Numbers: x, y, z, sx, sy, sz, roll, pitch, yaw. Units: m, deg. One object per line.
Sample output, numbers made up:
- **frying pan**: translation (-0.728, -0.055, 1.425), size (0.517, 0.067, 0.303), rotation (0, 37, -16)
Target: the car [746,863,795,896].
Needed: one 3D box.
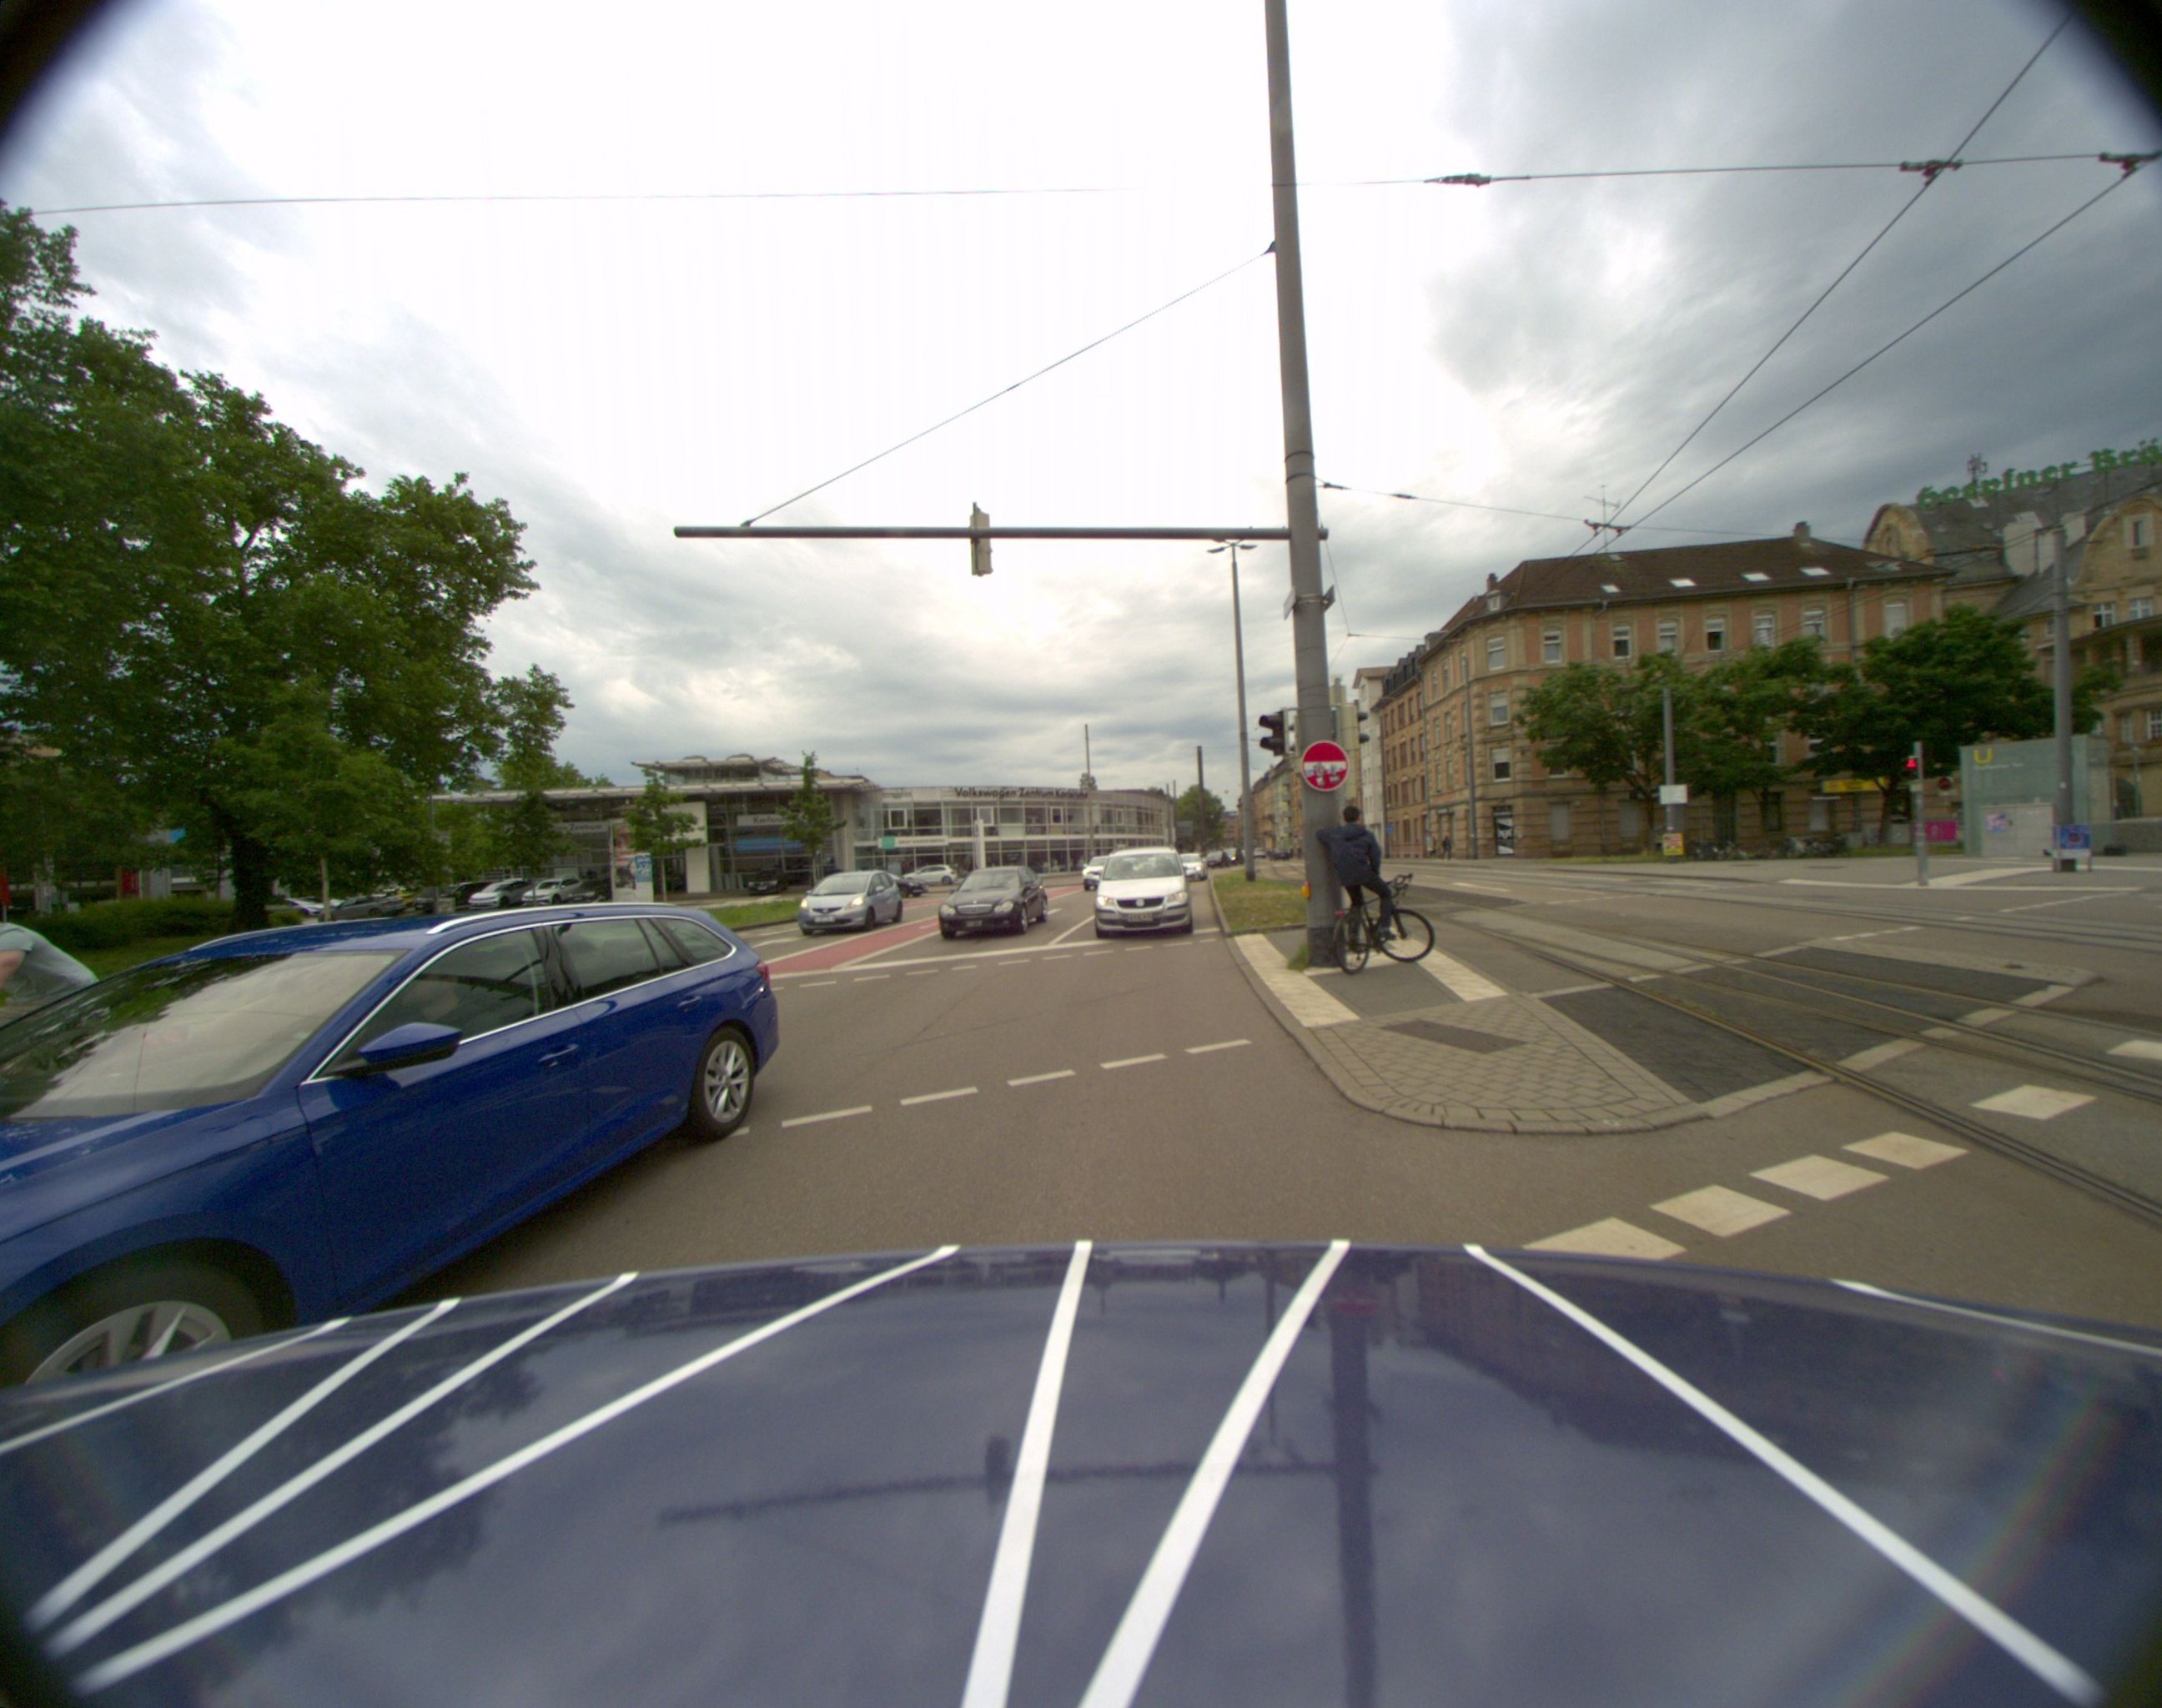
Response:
- **car**: translation (-20.639, 1.660, 50.714), size (1.957, 1.635, 4.667), rotation (-3, 5, -10)

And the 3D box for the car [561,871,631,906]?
- **car**: translation (-31.762, 2.223, 49.939), size (1.956, 1.450, 4.222), rotation (-3, 7, -4)

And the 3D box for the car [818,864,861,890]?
- **car**: translation (-16.270, 1.505, 51.071), size (1.960, 1.517, 4.219), rotation (-3, 2, -29)

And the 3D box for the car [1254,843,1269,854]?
- **car**: translation (28.780, -0.906, 121.146), size (1.834, 1.635, 4.232), rotation (-3, 0, 6)

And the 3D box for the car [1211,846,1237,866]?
- **car**: translation (14.085, 0.144, 74.631), size (2.370, 1.744, 5.133), rotation (-3, 0, 11)

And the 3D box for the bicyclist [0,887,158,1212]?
- **bicyclist**: translation (-5.879, 1.028, 3.990), size (0.790, 1.609, 0.933), rotation (-4, 1, 5)

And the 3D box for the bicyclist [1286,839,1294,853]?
- **bicyclist**: translation (28.405, -1.030, 103.404), size (0.823, 1.856, 0.924), rotation (-3, 1, 8)

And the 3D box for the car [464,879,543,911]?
- **car**: translation (-37.428, 2.618, 49.413), size (1.956, 1.459, 4.224), rotation (-3, 5, -4)

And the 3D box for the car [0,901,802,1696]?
- **car**: translation (-3.095, 1.120, 3.008), size (1.769, 1.428, 4.758), rotation (-4, 0, 5)

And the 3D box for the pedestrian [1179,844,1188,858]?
- **pedestrian**: translation (15.400, -0.447, 113.888), size (1.176, 2.002, 1.032), rotation (-3, 1, 8)

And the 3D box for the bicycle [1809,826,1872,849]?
- **bicycle**: translation (35.460, -0.753, 35.519), size (0.754, 1.024, 2.398), rotation (-3, 0, 8)

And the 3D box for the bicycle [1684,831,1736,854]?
- **bicycle**: translation (30.208, -0.550, 36.539), size (0.754, 1.024, 2.398), rotation (-3, 0, 8)

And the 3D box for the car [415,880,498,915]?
- **car**: translation (-40.130, 2.762, 48.974), size (1.956, 1.505, 4.223), rotation (-3, 6, -4)

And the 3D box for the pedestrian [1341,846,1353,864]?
- **pedestrian**: translation (27.987, 0.122, 79.860), size (0.921, 1.822, 0.719), rotation (-3, 1, -27)

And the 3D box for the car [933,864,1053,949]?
- **car**: translation (-1.790, 1.053, 16.919), size (1.769, 1.362, 4.422), rotation (-4, 1, 4)

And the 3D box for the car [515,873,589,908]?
- **car**: translation (-34.590, 2.366, 49.817), size (1.956, 1.589, 4.223), rotation (-3, 6, -4)

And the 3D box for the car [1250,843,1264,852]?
- **car**: translation (31.092, -1.207, 134.202), size (1.814, 1.423, 4.019), rotation (-3, 0, 6)

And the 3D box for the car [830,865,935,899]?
- **car**: translation (-10.336, 1.446, 39.776), size (4.877, 1.534, 1.892), rotation (-2, 0, 4)

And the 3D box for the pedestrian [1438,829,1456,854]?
- **pedestrian**: translation (25.188, -0.843, 52.269), size (0.811, 1.666, 0.799), rotation (-3, 1, 5)

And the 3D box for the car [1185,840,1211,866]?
- **car**: translation (9.743, -0.069, 63.394), size (1.997, 2.002, 4.002), rotation (-3, 0, 9)

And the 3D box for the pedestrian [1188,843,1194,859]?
- **pedestrian**: translation (13.697, -0.403, 94.997), size (0.652, 1.904, 0.602), rotation (-3, 1, 8)

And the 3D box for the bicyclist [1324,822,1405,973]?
- **bicyclist**: translation (3.207, 0.469, 8.600), size (0.656, 1.630, 0.516), rotation (-3, 1, -31)

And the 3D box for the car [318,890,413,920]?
- **car**: translation (-44.612, 3.166, 47.440), size (4.148, 1.504, 1.654), rotation (-3, 1, -4)

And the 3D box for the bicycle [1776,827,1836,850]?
- **bicycle**: translation (34.028, -0.719, 35.692), size (0.754, 1.024, 2.398), rotation (-3, 0, 8)

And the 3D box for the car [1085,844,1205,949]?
- **car**: translation (1.114, 0.684, 14.914), size (1.863, 1.609, 5.062), rotation (-3, 0, 1)

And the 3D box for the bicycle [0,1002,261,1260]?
- **bicycle**: translation (-5.839, 1.531, 3.952), size (0.763, 1.072, 2.017), rotation (-4, 0, 6)

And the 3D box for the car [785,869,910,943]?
- **car**: translation (-5.807, 1.242, 19.430), size (1.708, 1.475, 3.934), rotation (-4, 0, 3)

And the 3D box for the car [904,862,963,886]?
- **car**: translation (-10.505, 1.402, 54.297), size (3.905, 1.433, 1.732), rotation (-3, 1, -2)

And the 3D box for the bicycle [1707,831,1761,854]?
- **bicycle**: translation (31.323, -0.533, 36.482), size (0.754, 1.024, 2.398), rotation (-3, 0, 8)

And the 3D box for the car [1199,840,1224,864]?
- **car**: translation (11.786, -0.213, 68.787), size (1.997, 2.002, 4.002), rotation (-3, 0, 9)

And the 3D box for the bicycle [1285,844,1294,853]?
- **bicycle**: translation (28.367, -0.742, 103.324), size (0.798, 1.285, 2.412), rotation (-3, 0, 8)

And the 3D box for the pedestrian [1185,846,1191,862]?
- **pedestrian**: translation (11.963, -0.011, 84.960), size (0.662, 1.671, 0.650), rotation (-3, 1, 7)

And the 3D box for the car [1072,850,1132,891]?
- **car**: translation (1.084, 0.737, 35.853), size (1.981, 1.550, 4.148), rotation (-8, -1, 11)

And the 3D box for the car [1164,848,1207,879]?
- **car**: translation (5.482, 0.446, 39.589), size (1.971, 1.447, 4.196), rotation (-3, 0, 10)

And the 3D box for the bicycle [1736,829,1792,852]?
- **bicycle**: translation (32.511, -0.624, 36.214), size (0.754, 1.024, 2.398), rotation (-3, 0, 8)

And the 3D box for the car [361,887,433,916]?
- **car**: translation (-44.596, 3.095, 49.566), size (3.121, 1.505, 1.439), rotation (-3, 5, -4)

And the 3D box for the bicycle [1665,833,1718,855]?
- **bicycle**: translation (29.407, -0.483, 36.639), size (0.836, 1.024, 2.398), rotation (-3, 0, 8)

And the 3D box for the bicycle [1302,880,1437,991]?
- **bicycle**: translation (3.301, 0.881, 8.651), size (1.617, 1.064, 0.527), rotation (-3, 1, -31)

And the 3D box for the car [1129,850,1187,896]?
- **car**: translation (2.777, 0.621, 26.826), size (1.808, 1.398, 3.985), rotation (-2, 0, 8)

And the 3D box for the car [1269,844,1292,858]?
- **car**: translation (23.513, -0.362, 89.532), size (1.887, 1.461, 4.466), rotation (-3, 0, 6)
